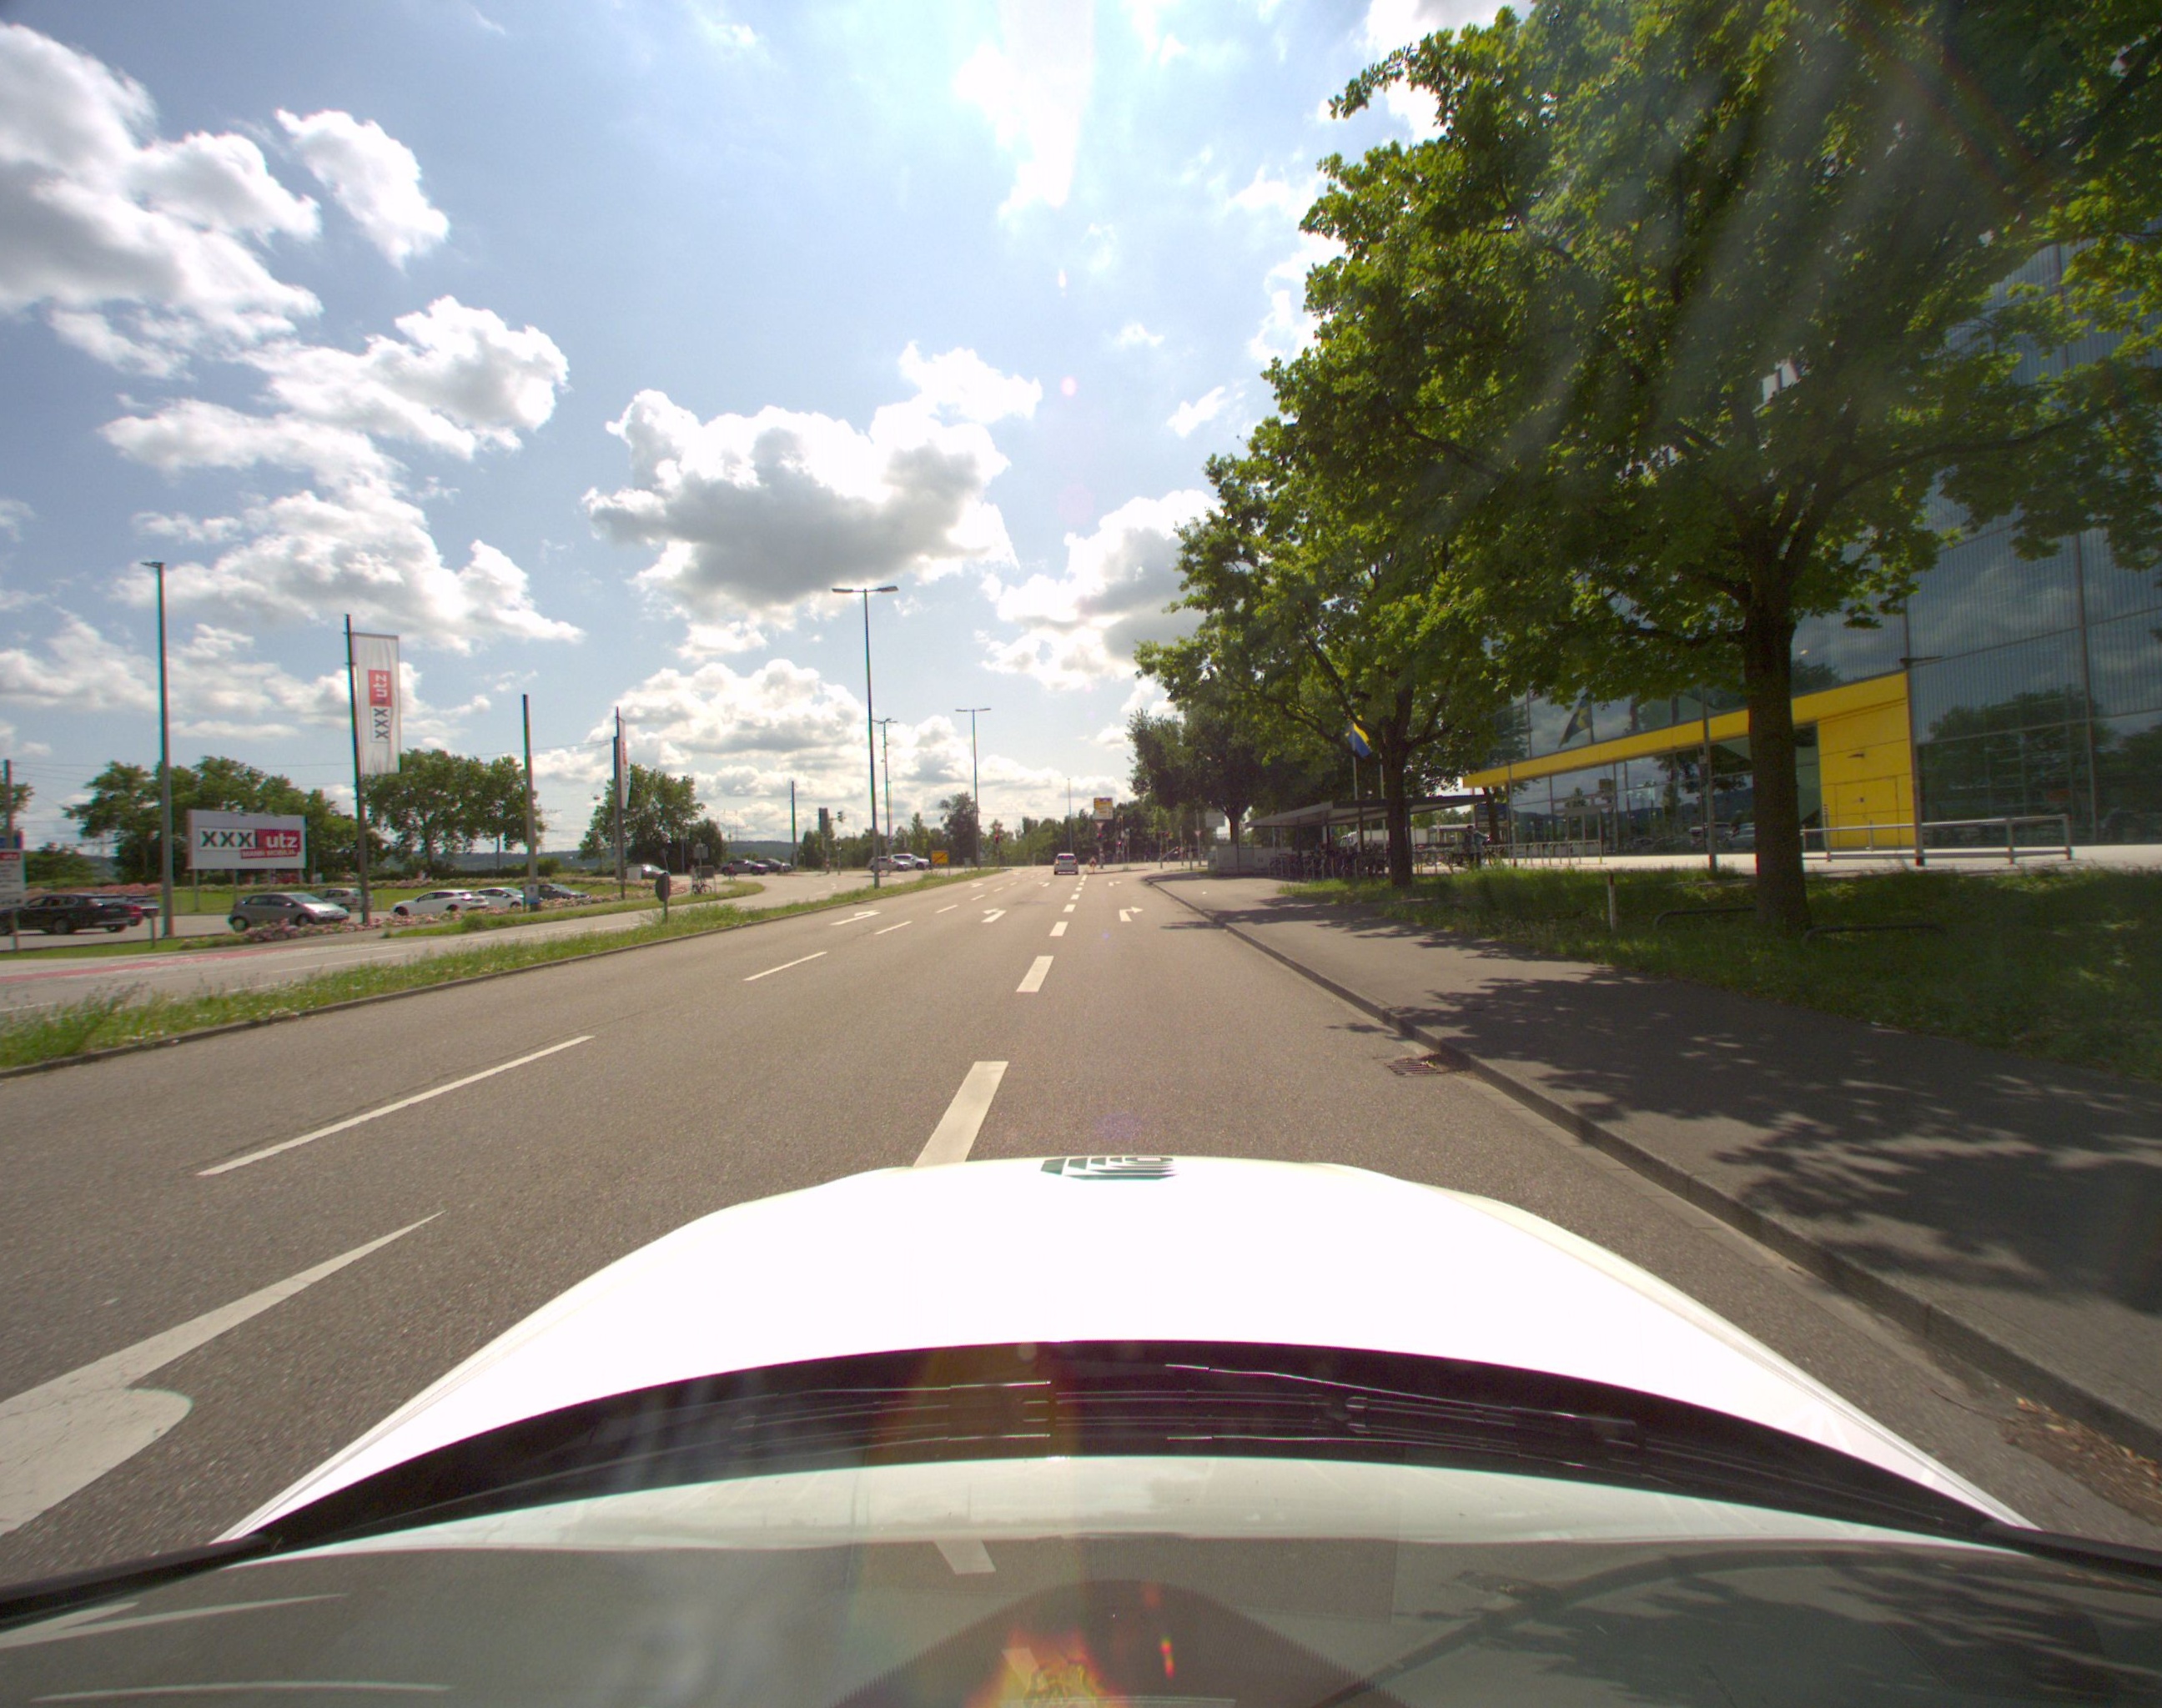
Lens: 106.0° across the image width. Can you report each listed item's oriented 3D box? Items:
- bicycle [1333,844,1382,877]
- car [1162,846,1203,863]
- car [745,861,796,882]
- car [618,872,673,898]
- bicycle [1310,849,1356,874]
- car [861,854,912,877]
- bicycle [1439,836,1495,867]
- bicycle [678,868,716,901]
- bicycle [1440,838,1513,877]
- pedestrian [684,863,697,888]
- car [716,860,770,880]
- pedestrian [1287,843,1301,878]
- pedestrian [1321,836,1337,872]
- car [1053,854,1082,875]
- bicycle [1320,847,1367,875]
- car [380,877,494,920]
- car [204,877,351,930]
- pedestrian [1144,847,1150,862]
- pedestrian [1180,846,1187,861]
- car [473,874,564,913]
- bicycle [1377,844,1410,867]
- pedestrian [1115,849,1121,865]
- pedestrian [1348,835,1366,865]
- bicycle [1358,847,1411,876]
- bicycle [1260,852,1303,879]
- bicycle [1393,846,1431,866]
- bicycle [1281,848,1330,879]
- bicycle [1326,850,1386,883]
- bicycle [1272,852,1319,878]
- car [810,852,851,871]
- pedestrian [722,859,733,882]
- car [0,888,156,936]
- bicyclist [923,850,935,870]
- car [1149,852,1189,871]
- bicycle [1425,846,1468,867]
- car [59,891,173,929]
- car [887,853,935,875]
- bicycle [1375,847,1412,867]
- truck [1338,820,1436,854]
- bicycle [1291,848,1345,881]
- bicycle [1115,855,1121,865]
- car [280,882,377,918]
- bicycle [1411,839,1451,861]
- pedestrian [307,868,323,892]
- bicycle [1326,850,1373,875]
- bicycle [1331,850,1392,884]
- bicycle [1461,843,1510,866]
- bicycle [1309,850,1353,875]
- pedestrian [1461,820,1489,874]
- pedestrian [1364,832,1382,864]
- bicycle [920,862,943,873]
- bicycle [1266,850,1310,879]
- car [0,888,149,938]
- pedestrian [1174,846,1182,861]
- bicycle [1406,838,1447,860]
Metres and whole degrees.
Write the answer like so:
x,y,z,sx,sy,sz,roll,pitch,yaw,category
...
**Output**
x,y,z,sx,sy,sz,roll,pitch,yaw,category
11.365,0.279,33.494,1.858,1.231,0.423,-3,0,-4,bicycle
12.287,0.117,99.005,4.636,1.820,2.000,-3,-1,0,car
-31.877,1.796,83.703,4.334,1.989,2.000,-3,-1,0,car
-38.506,2.719,71.987,3.955,2.013,2.009,-3,0,17,car
11.137,0.333,36.031,1.858,0.994,0.423,-3,0,-4,bicycle
-19.039,1.138,79.823,4.334,1.989,2.000,-3,-1,0,car
17.434,-0.101,36.801,2.126,1.229,0.723,-4,0,11,bicycle
-21.170,1.652,44.948,1.014,1.675,2.049,-3,0,1,bicycle
12.774,0.115,26.327,1.988,1.108,0.581,-5,-1,39,bicycle
-28.734,1.550,59.941,0.869,1.837,0.791,0,-1,-28,pedestrian
-33.308,1.594,80.287,4.485,1.674,1.906,-4,-1,3,car
10.212,0.315,39.114,0.540,1.662,0.548,-3,-1,12,pedestrian
11.614,0.009,38.158,0.542,1.662,0.478,-3,0,-1,pedestrian
-0.967,0.732,59.133,1.887,1.470,3.835,-1,0,2,car
11.397,0.314,35.369,1.858,1.116,0.423,-3,-1,-4,bicycle
-33.894,2.313,42.949,4.334,1.989,2.000,-3,-1,0,car
-34.898,2.133,35.471,4.334,1.989,2.000,-3,-1,0,car
7.601,0.085,93.585,0.520,1.721,0.731,-3,0,5,pedestrian
11.915,-0.029,94.684,0.673,1.748,0.637,-2,1,3,pedestrian
-33.206,2.316,48.146,3.971,2.013,2.001,-3,-1,2,car
17.370,0.092,45.293,1.678,1.157,0.459,-3,0,-14,bicycle
4.385,0.344,95.873,0.608,1.769,0.673,-2,0,2,pedestrian
18.181,-0.253,53.626,1.000,1.902,0.978,-3,-2,15,pedestrian
11.688,0.289,31.388,1.858,0.994,0.423,-4,-1,-4,bicycle
9.458,0.526,38.392,1.858,1.187,0.423,-3,0,-4,bicycle
17.825,0.115,43.920,1.858,0.994,0.464,-2,0,-4,bicycle
9.214,0.392,33.461,1.858,1.187,0.423,-3,0,-4,bicycle
9.385,0.428,27.793,1.858,0.994,0.423,-4,0,-4,bicycle
9.196,0.479,34.892,1.858,0.994,0.423,-3,0,-4,bicycle
-29.719,0.886,96.799,4.347,1.989,1.994,-3,-1,-9,car
-29.476,1.363,67.860,0.800,1.837,0.859,0,-1,-28,pedestrian
-49.873,2.840,40.251,5.295,1.989,1.992,-3,-1,-12,car
-14.062,0.551,75.430,0.918,1.846,0.611,-2,0,0,bicyclist
9.474,0.816,87.902,3.975,1.783,1.909,-3,0,-1,car
17.601,0.132,39.200,1.858,0.882,0.423,-4,-1,-4,bicycle
-60.037,3.451,50.731,4.334,1.989,2.249,-3,-1,0,car
-17.273,1.044,82.673,4.334,1.989,2.000,-3,-1,0,car
17.776,0.170,46.320,1.854,0.994,0.424,-3,0,2,bicycle
40.921,-2.208,109.055,11.914,4.104,2.953,-2,0,1,truck
9.093,0.397,31.234,1.888,1.170,0.424,-4,0,2,bicycle
4.398,0.700,95.906,0.616,1.087,1.724,-2,0,3,bicycle
-48.922,2.965,52.990,4.334,1.989,2.000,-3,-1,0,car
17.947,-0.215,41.755,1.858,0.995,0.423,-4,-2,-4,bicycle
-66.191,2.282,70.341,0.560,2.013,0.779,-3,0,22,pedestrian
11.439,0.363,34.718,1.858,0.995,0.423,-3,-2,-4,bicycle
9.406,0.421,27.303,1.858,0.994,0.423,-4,0,-4,bicycle
17.708,0.036,35.633,1.855,0.881,0.471,-3,0,1,bicycle
11.441,0.371,37.282,1.854,1.034,0.424,-3,0,2,bicycle
12.942,-0.222,26.762,0.626,1.721,0.528,-4,-2,37,pedestrian
19.375,-0.391,54.085,1.000,2.072,0.978,-3,-2,15,pedestrian
-13.864,1.230,75.442,2.010,0.999,0.622,0,0,0,bicycle
9.433,0.462,37.074,1.858,1.187,0.423,-3,0,-4,bicycle
-44.455,2.568,35.809,4.567,1.989,2.000,-2,-1,0,car
11.360,-0.085,95.395,0.703,1.721,0.601,-3,0,3,pedestrian
17.244,-0.237,40.631,1.858,0.994,0.423,-3,-1,-4,bicycle
